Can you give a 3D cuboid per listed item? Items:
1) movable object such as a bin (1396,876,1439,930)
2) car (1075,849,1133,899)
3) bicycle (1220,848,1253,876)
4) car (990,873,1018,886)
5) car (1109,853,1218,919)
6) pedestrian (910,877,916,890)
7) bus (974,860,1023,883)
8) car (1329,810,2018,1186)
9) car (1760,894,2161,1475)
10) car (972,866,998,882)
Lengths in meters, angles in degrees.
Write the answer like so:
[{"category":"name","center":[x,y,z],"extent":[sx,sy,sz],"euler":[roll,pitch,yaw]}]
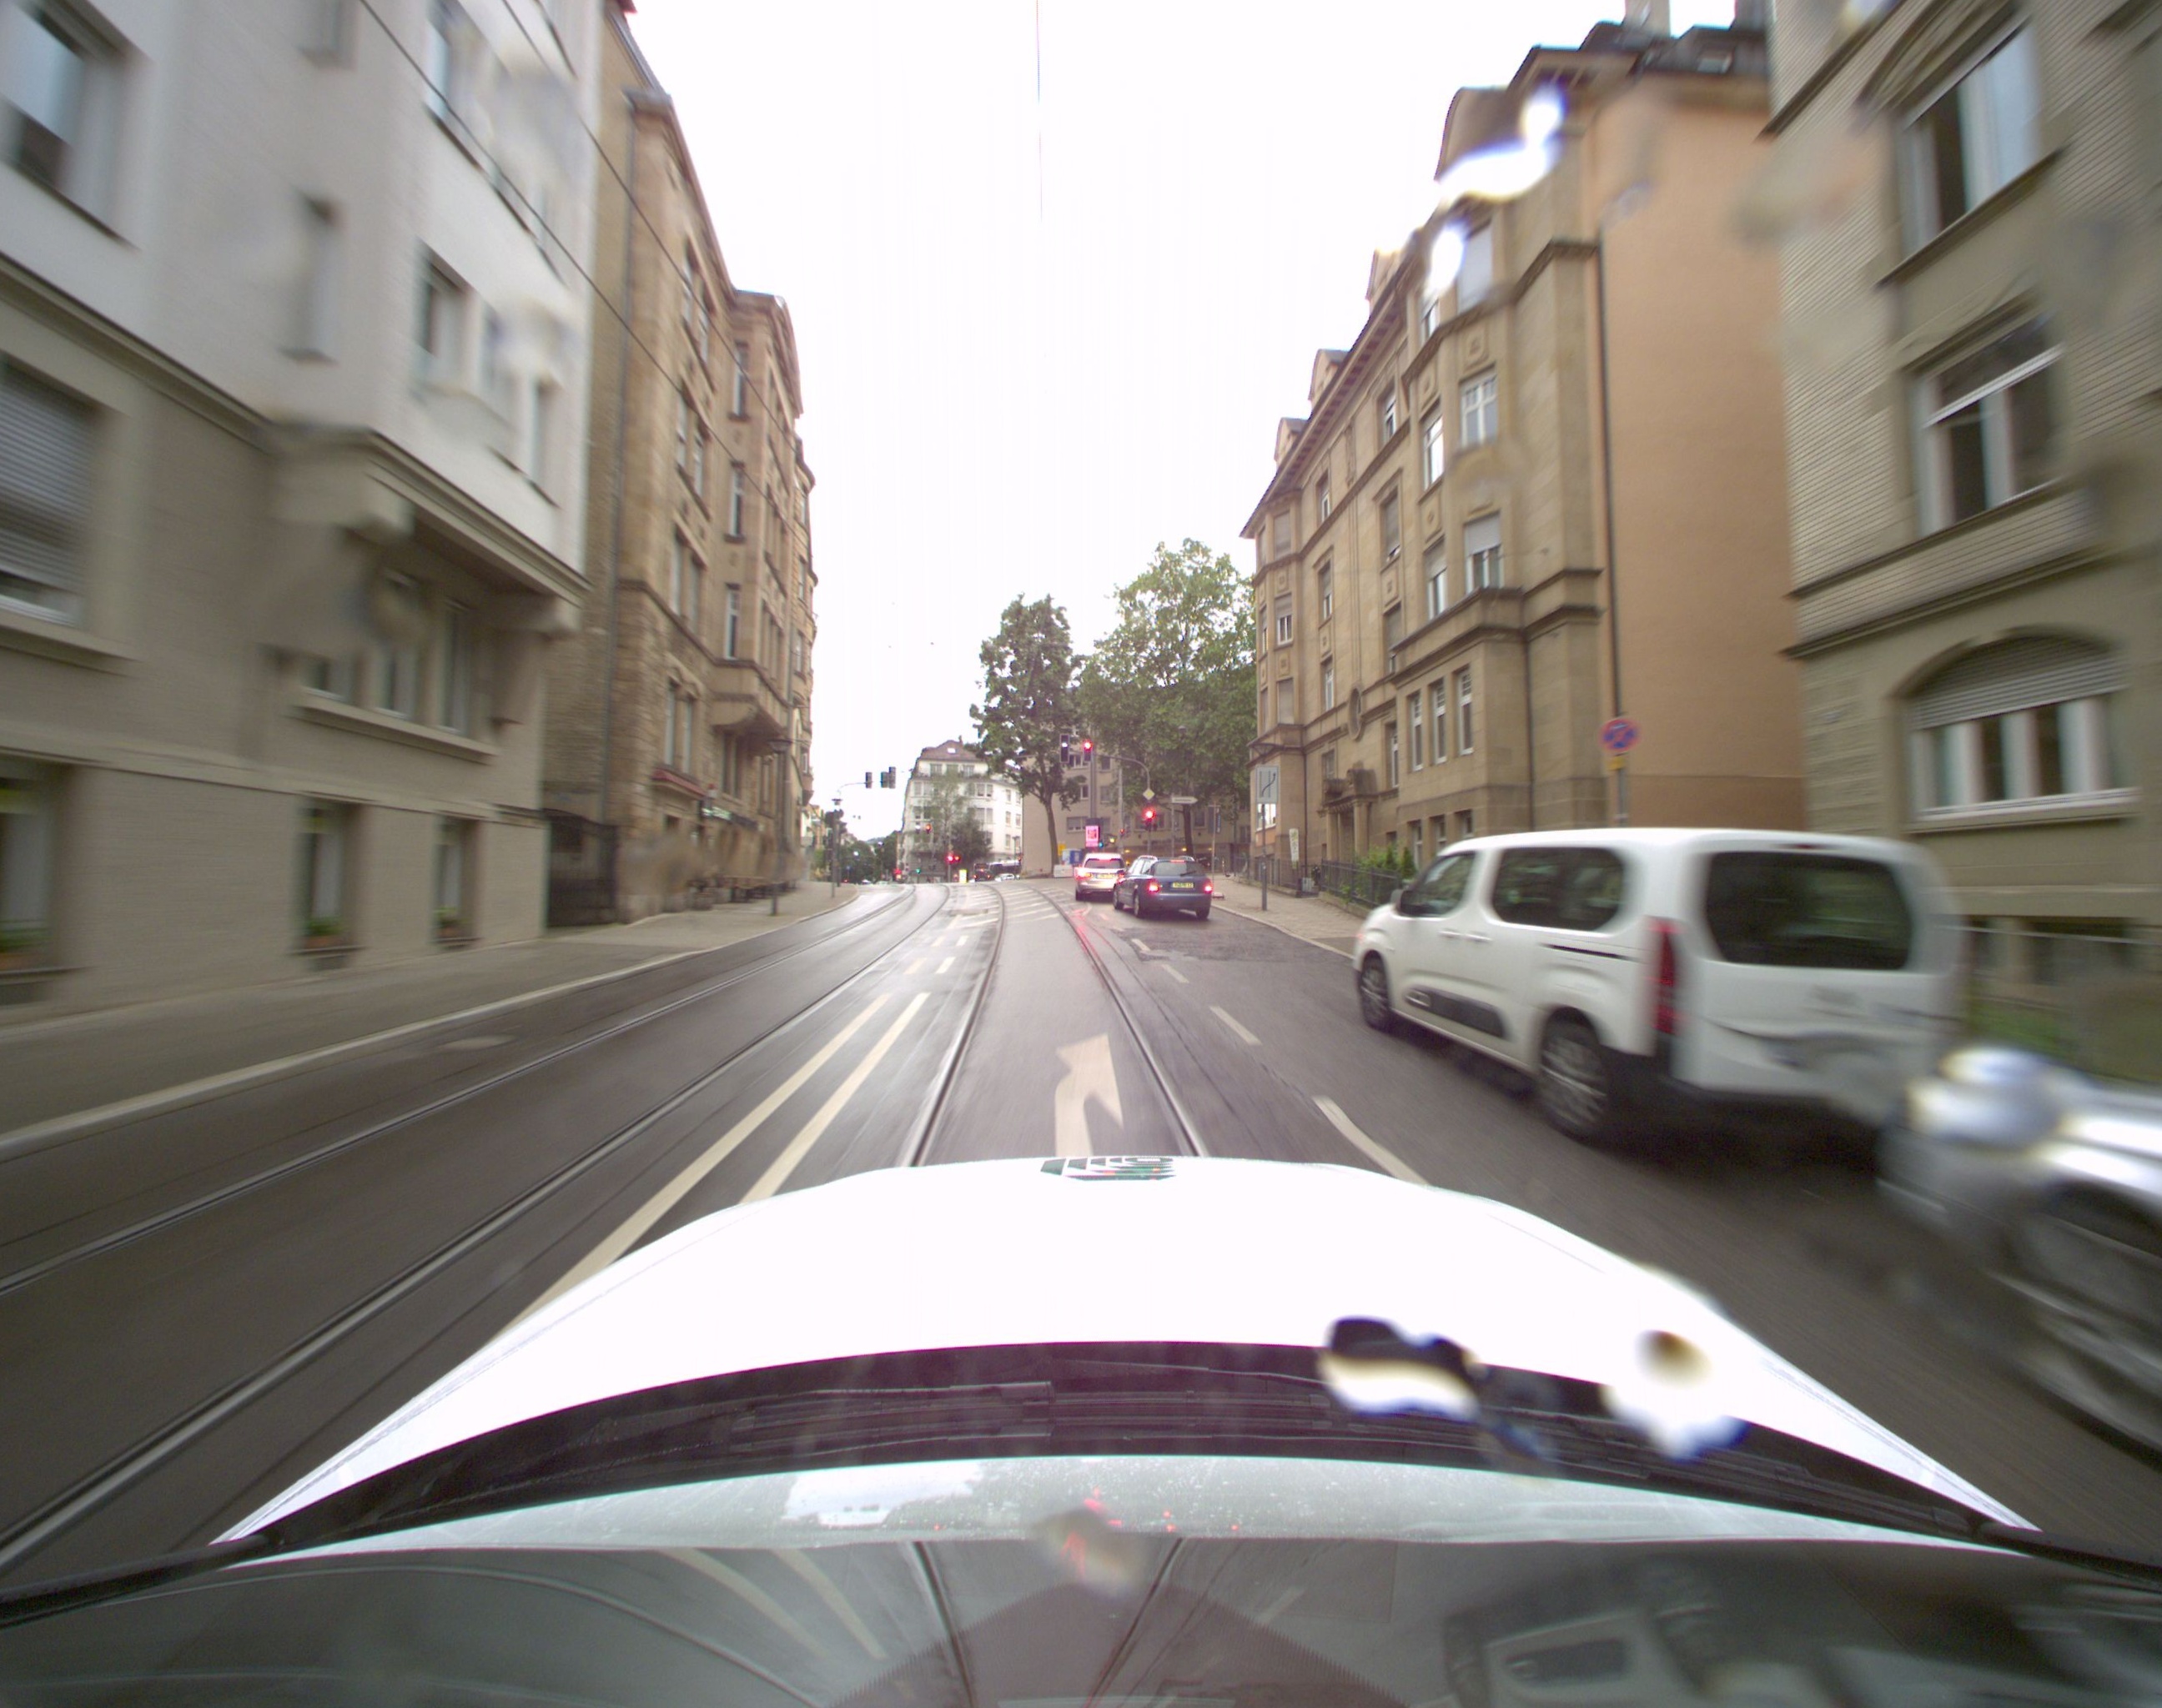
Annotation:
[{"category":"movable object such as a bin","center":[6.746,0.968,16.341],"extent":[0.536,1.026,0.603],"euler":[4,-1,-5]},{"category":"car","center":[0.683,0.597,26.109],"extent":[1.705,1.456,3.552],"euler":[1,1,0]},{"category":"bicycle","center":[6.955,0.359,36.388],"extent":[1.298,1.173,0.525],"euler":[-2,0,-5]},{"category":"car","center":[-9.768,3.226,103.702],"extent":[1.778,1.510,4.023],"euler":[-1,0,25]},{"category":"car","center":[1.935,0.716,20.246],"extent":[1.710,1.415,4.023],"euler":[1,1,-9]},{"category":"pedestrian","center":[-21.863,3.899,105.938],"extent":[0.649,1.661,0.647],"euler":[1,0,-13]},{"category":"bus","center":[-11.064,2.337,109.670],"extent":[2.830,2.861,8.779],"euler":[-1,0,21]},{"category":"car","center":[3.554,0.697,6.145],"extent":[1.793,1.765,4.458],"euler":[2,0,-3]},{"category":"car","center":[3.633,0.899,1.045],"extent":[1.743,1.400,4.476],"euler":[2,0,-1]},{"category":"car","center":[-9.706,2.018,82.691],"extent":[1.785,1.510,4.007],"euler":[-3,0,6]}]
